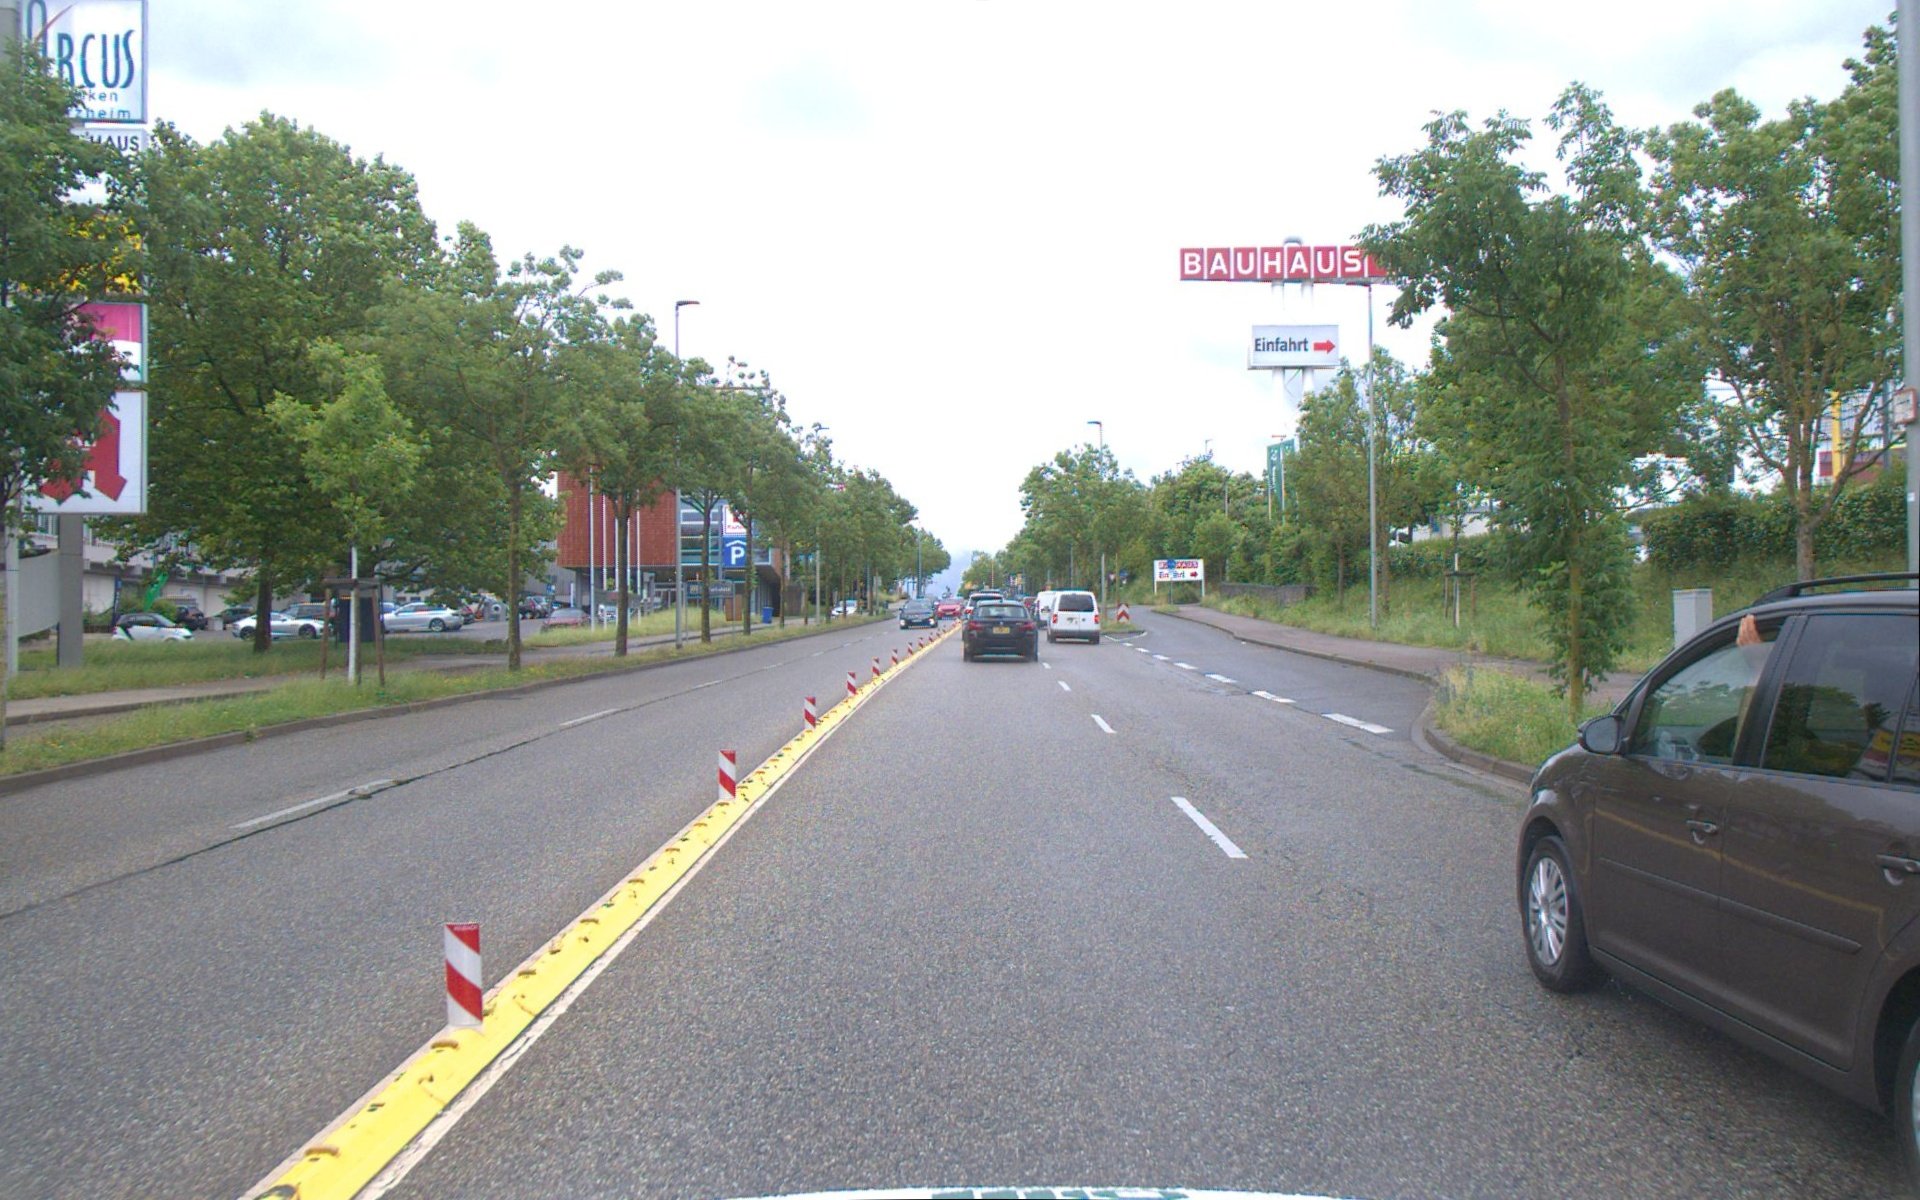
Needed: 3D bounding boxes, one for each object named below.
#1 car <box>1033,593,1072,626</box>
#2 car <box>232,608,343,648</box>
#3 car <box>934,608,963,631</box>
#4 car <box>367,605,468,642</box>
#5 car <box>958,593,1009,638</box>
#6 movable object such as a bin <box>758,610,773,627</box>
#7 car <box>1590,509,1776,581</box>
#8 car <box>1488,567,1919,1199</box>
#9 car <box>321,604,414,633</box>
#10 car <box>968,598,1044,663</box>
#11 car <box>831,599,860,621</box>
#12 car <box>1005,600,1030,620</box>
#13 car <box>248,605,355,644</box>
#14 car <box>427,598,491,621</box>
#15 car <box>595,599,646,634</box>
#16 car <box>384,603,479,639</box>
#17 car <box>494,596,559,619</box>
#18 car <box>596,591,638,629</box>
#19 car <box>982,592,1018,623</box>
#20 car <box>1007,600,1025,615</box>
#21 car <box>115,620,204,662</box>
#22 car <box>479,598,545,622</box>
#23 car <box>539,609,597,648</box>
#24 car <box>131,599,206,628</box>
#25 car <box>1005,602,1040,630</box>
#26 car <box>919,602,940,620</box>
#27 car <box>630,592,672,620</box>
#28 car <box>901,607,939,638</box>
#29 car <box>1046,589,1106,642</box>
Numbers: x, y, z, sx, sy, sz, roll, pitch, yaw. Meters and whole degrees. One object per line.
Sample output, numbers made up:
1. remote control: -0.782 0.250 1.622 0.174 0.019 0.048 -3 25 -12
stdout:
1. car: 4.527 0.460 81.109 1.757 1.537 4.000 1 -1 1
2. car: -31.611 1.322 77.838 4.515 1.776 1.962 0 1 -11
3. car: -0.804 1.324 114.498 1.725 1.450 4.181 -1 0 3
4. car: -27.323 1.171 83.366 4.511 1.776 1.964 0 1 -7
5. car: 0.838 0.573 60.739 1.757 1.537 4.000 1 -1 0
6. movable object such as a bin: -13.240 1.249 112.803 0.802 1.098 1.086 4 0 2
7. car: 20.076 -1.507 46.009 4.263 1.657 1.926 -4 0 -5
8. car: 3.229 0.760 5.216 1.651 1.609 4.217 2 -1 -2
9. car: -32.872 1.020 91.884 4.522 1.536 2.022 0 1 -7
10. car: 1.139 0.719 41.136 1.789 1.494 4.001 -1 0 2
11. car: -8.890 0.788 128.466 1.828 1.580 4.576 -3 0 1
12. car: 4.678 0.818 135.756 1.758 1.537 3.998 1 -1 -2
13. car: -32.122 1.194 80.785 4.515 1.776 2.129 0 1 -11
14. car: -34.827 0.646 115.043 4.030 1.536 1.816 0 1 -7
15. car: -19.087 0.904 93.097 1.998 1.792 4.944 1 1 -2
16. car: -27.495 1.087 86.112 4.413 1.776 1.898 0 1 -7
17. car: -30.139 0.539 115.106 4.111 1.536 1.816 0 1 -7
18. car: -20.434 0.561 98.786 2.074 2.132 5.114 0 1 -8
19. car: 2.086 0.401 86.995 1.757 1.537 4.000 1 -1 0
20. car: 5.880 0.802 173.683 1.757 1.537 3.999 1 -1 0
21. car: -30.634 1.567 63.366 2.646 1.389 1.607 -2 2 -9
22. car: -29.963 0.650 110.755 4.030 1.536 1.816 0 1 -7
23. car: -18.619 1.310 78.670 1.894 1.637 4.708 1 1 -4
24. car: -50.490 0.837 105.609 3.910 1.762 1.798 0 1 -6
25. car: 3.594 0.949 96.021 1.758 1.537 3.998 1 -1 -2
26. car: -2.905 1.043 159.212 1.750 1.642 4.437 -3 0 2
27. car: -21.197 0.380 113.674 2.094 1.804 4.607 1 1 -1
28. car: -2.030 1.161 85.223 1.789 1.491 4.616 -1 0 1
29. car: 4.053 0.516 58.249 1.789 1.790 4.000 1 0 0
